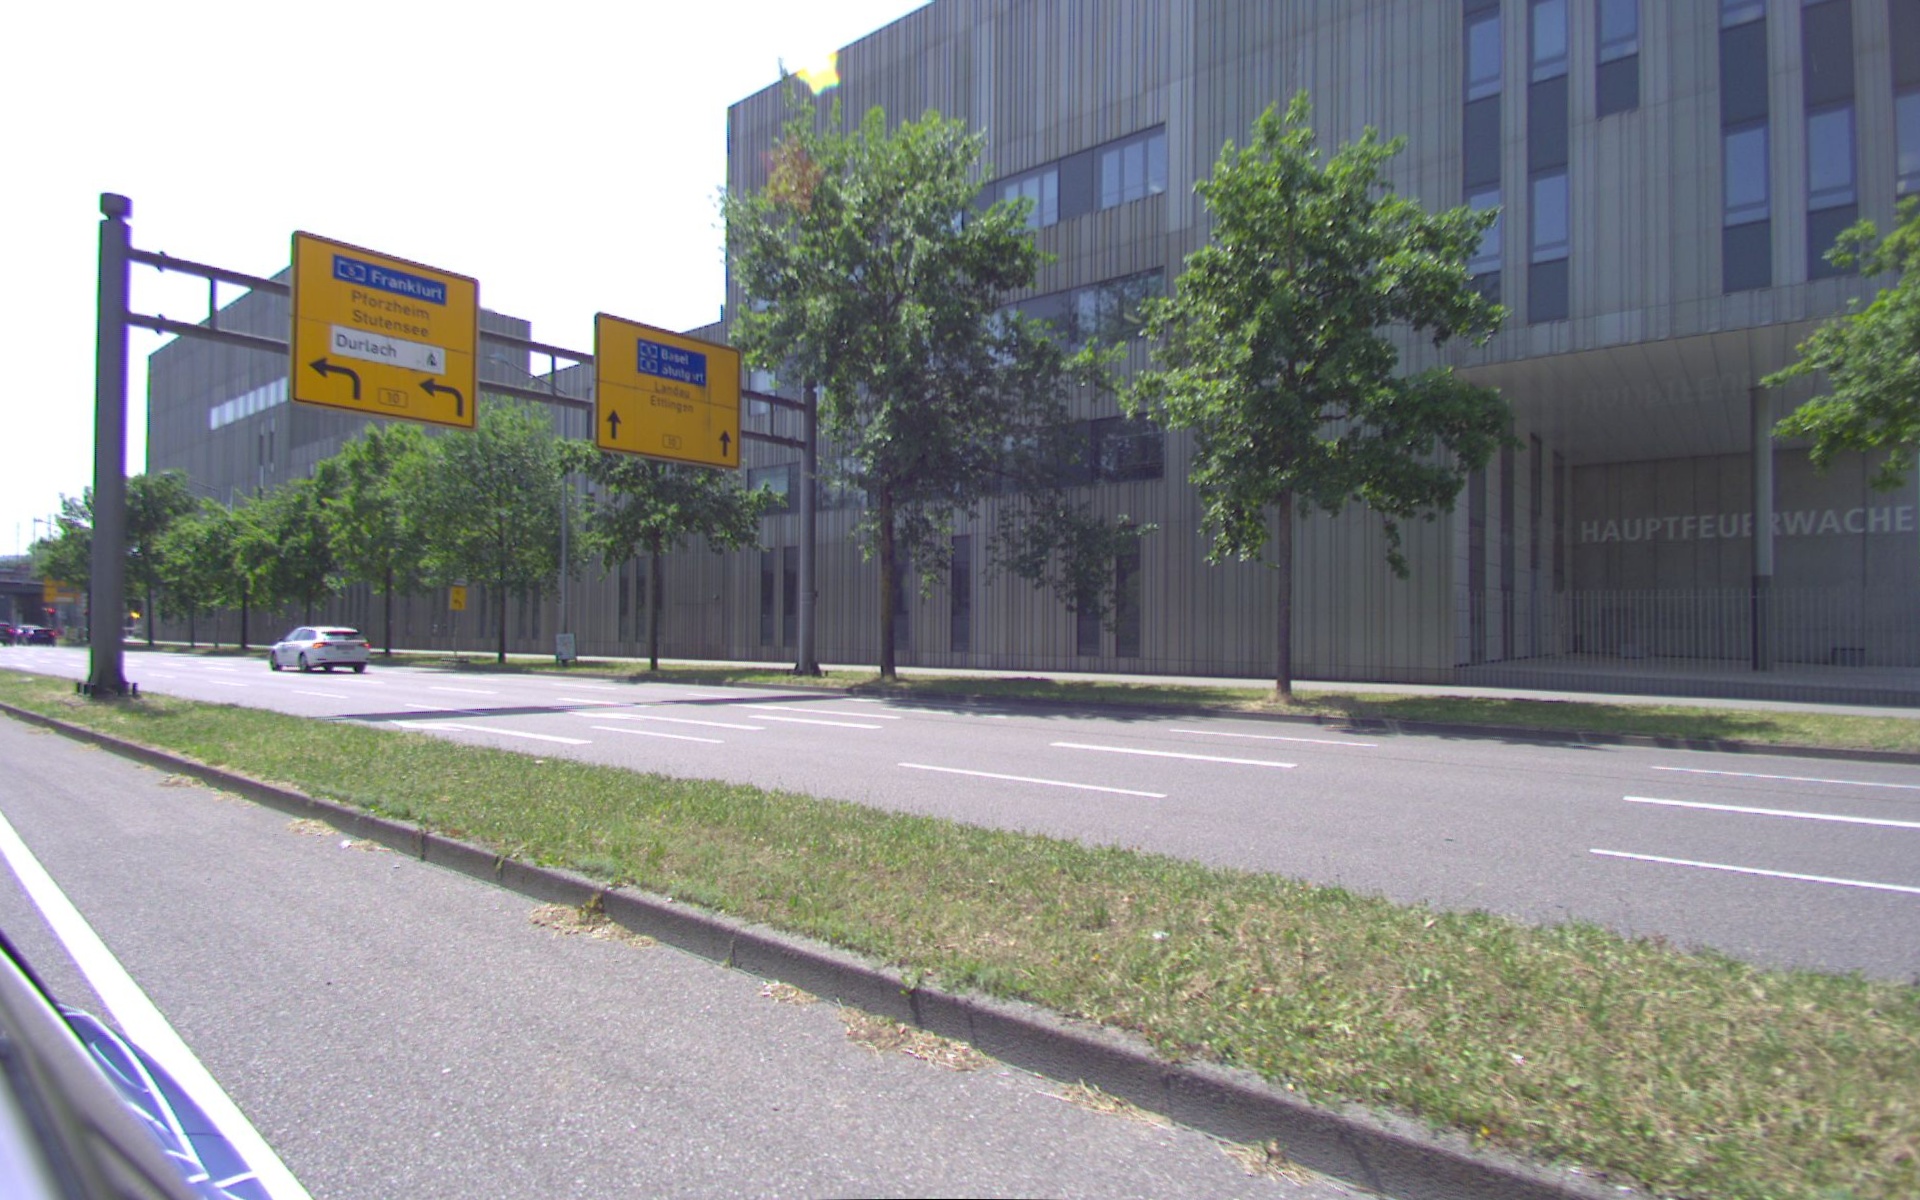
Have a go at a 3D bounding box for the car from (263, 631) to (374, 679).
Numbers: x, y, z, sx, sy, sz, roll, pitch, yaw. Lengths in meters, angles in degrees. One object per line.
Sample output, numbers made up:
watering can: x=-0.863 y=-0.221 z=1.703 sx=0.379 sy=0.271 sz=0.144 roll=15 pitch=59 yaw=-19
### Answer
car: x=-20.785 y=1.744 z=32.726 sx=4.355 sy=1.438 sz=1.792 roll=-1 pitch=-3 yaw=40

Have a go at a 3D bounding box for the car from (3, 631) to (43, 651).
car: x=-77.047 y=3.356 z=83.180 sx=4.365 sy=1.555 sz=1.793 roll=-1 pitch=-2 yaw=39

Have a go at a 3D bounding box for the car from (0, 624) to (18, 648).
car: x=-72.575 y=2.729 z=76.096 sx=4.639 sy=1.760 sz=1.793 roll=-1 pitch=-2 yaw=38

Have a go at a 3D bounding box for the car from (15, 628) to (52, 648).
car: x=-72.593 y=2.949 z=79.284 sx=4.014 sy=1.467 sz=1.604 roll=-1 pitch=-2 yaw=40
